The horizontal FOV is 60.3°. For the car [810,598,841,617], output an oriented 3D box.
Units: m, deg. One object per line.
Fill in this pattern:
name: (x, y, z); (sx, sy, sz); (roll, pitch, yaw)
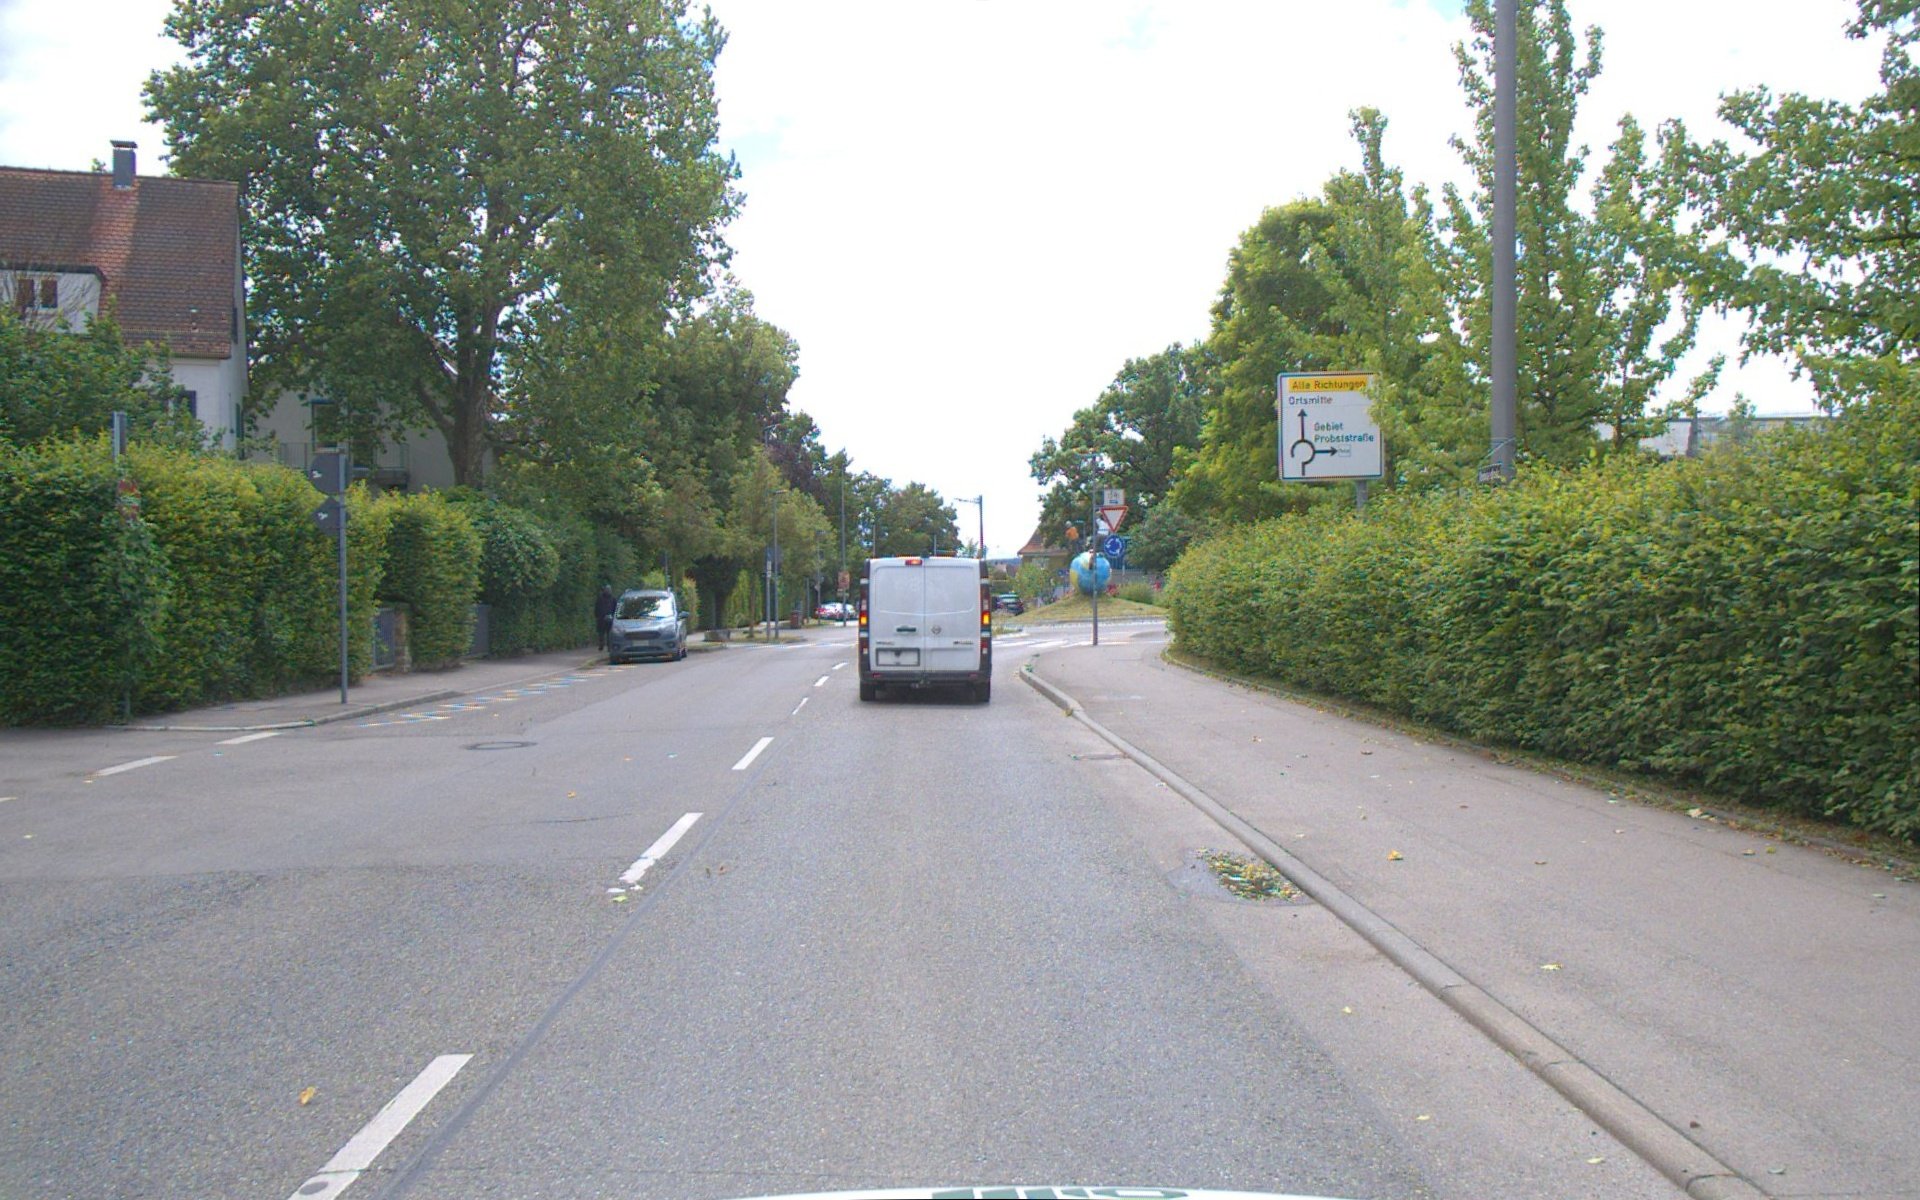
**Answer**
car: (-10.602, 0.580, 130.268); (2.026, 1.410, 4.037); (-1, 1, -10)

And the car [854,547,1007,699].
car: (-0.410, 0.265, 24.356); (1.993, 1.979, 4.993); (1, 1, 0)

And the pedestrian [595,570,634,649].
pedestrian: (-9.225, 0.255, 44.186); (0.855, 2.049, 1.040); (-2, 0, -5)

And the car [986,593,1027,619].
car: (2.926, 0.359, 104.245); (1.897, 1.564, 3.917); (-1, 1, -9)

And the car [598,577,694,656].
car: (-7.661, 0.370, 40.740); (2.092, 1.803, 4.456); (1, 1, -8)

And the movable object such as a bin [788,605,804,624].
movable object such as a bin: (-8.236, 0.725, 83.101); (0.616, 0.878, 0.641); (-2, 0, 9)
